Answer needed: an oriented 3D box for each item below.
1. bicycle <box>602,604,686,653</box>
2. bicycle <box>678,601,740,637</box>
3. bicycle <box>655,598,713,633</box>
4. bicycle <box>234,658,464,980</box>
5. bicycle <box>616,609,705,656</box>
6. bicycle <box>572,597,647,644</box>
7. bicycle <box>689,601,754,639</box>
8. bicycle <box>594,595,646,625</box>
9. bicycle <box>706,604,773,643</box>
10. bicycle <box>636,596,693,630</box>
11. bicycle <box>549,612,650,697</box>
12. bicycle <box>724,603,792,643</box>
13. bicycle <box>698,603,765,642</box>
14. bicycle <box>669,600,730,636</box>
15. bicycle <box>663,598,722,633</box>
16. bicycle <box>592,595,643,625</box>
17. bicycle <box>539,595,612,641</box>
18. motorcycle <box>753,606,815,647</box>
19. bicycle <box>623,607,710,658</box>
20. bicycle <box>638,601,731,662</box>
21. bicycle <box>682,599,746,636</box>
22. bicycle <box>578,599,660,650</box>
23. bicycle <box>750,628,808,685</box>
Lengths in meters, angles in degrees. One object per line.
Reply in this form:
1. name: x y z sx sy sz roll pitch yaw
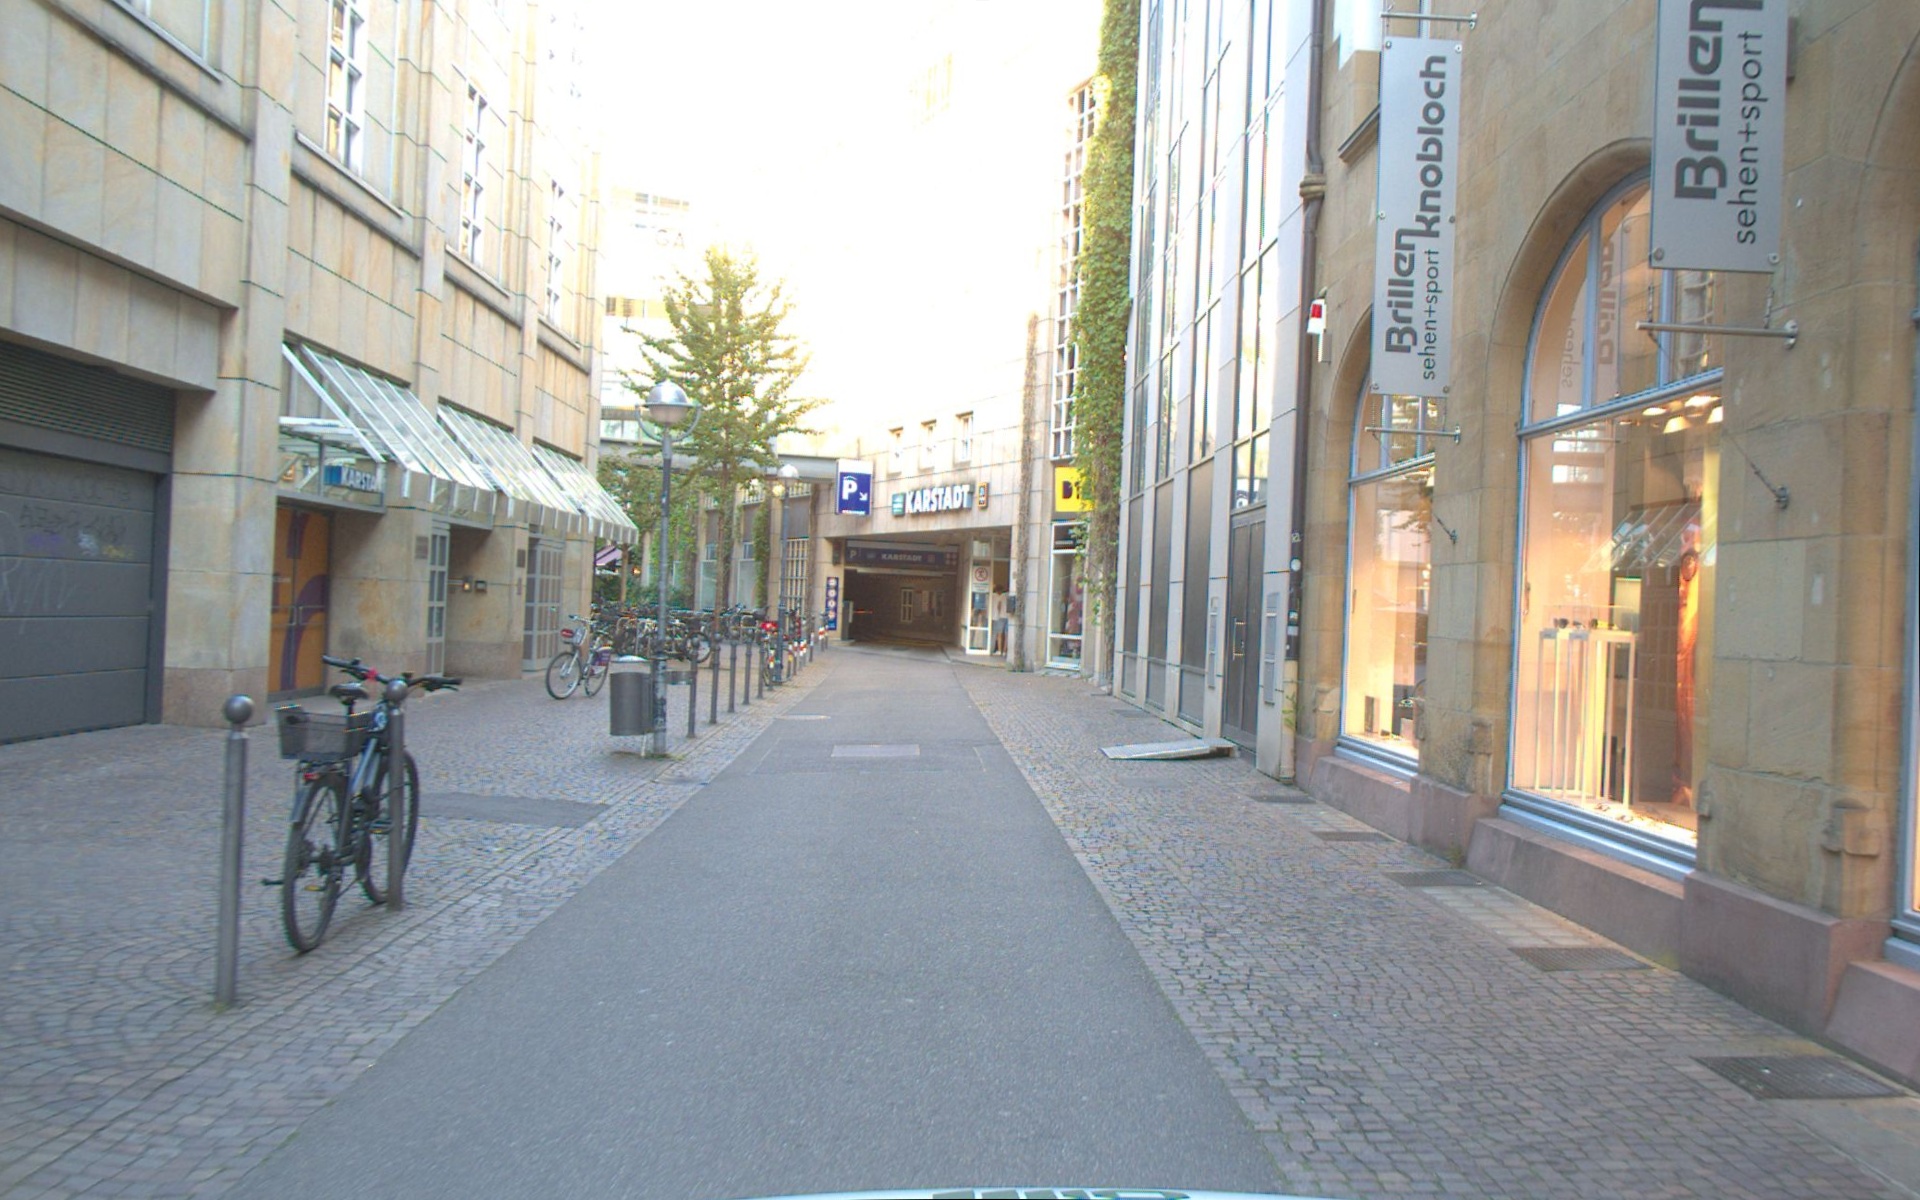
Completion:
1. bicycle: -7.662 0.692 40.112 1.884 1.121 0.692 2 0 -19
2. bicycle: -8.458 0.636 55.756 1.965 1.203 0.689 0 0 -22
3. bicycle: -9.827 0.544 58.897 1.965 1.203 0.689 0 0 -22
4. bicycle: -2.632 0.876 7.307 0.402 1.152 1.929 2 0 -5
5. bicycle: -6.879 0.740 38.035 1.886 1.011 0.691 2 0 -22
6. bicycle: -9.471 0.559 44.638 1.884 1.203 0.692 2 0 -19
7. bicycle: -7.697 0.628 53.343 1.965 1.203 0.797 0 0 -22
8. bicycle: -13.712 0.418 66.774 1.965 1.203 0.689 0 0 -22
9. bicycle: -6.858 0.728 51.360 1.965 1.203 0.691 0 0 -22
10. bicycle: -10.936 0.480 61.215 1.965 1.203 0.689 0 0 -22
11. bicycle: -5.094 0.751 23.480 0.679 1.131 1.778 2 0 13
12. bicycle: -6.164 0.702 50.427 1.965 1.203 0.691 0 0 -22
13. bicycle: -7.219 0.722 52.227 1.965 1.203 0.797 0 0 -22
14. bicycle: -8.904 0.605 56.622 1.965 1.203 0.689 0 0 -22
15. bicycle: -9.356 0.536 57.841 1.965 1.203 0.689 0 0 -22
16. bicycle: -14.006 0.394 67.573 1.965 1.203 0.689 0 0 -22
17. bicycle: -10.782 0.503 46.369 1.884 1.203 0.692 2 0 -19
18. motorcycle: -5.201 0.779 48.888 1.719 1.175 0.591 0 0 -19
19. bicycle: -6.907 0.764 38.954 1.886 1.121 0.691 2 0 -22
20. bicycle: -6.106 0.694 36.652 1.886 1.283 0.803 2 0 -22
21. bicycle: -8.134 0.589 54.677 1.965 1.203 0.797 0 0 -22
22. bicycle: -8.441 0.606 40.983 1.884 1.203 0.692 2 0 -19
23. bicycle: -3.311 1.017 30.410 0.494 0.983 1.696 2 0 13
